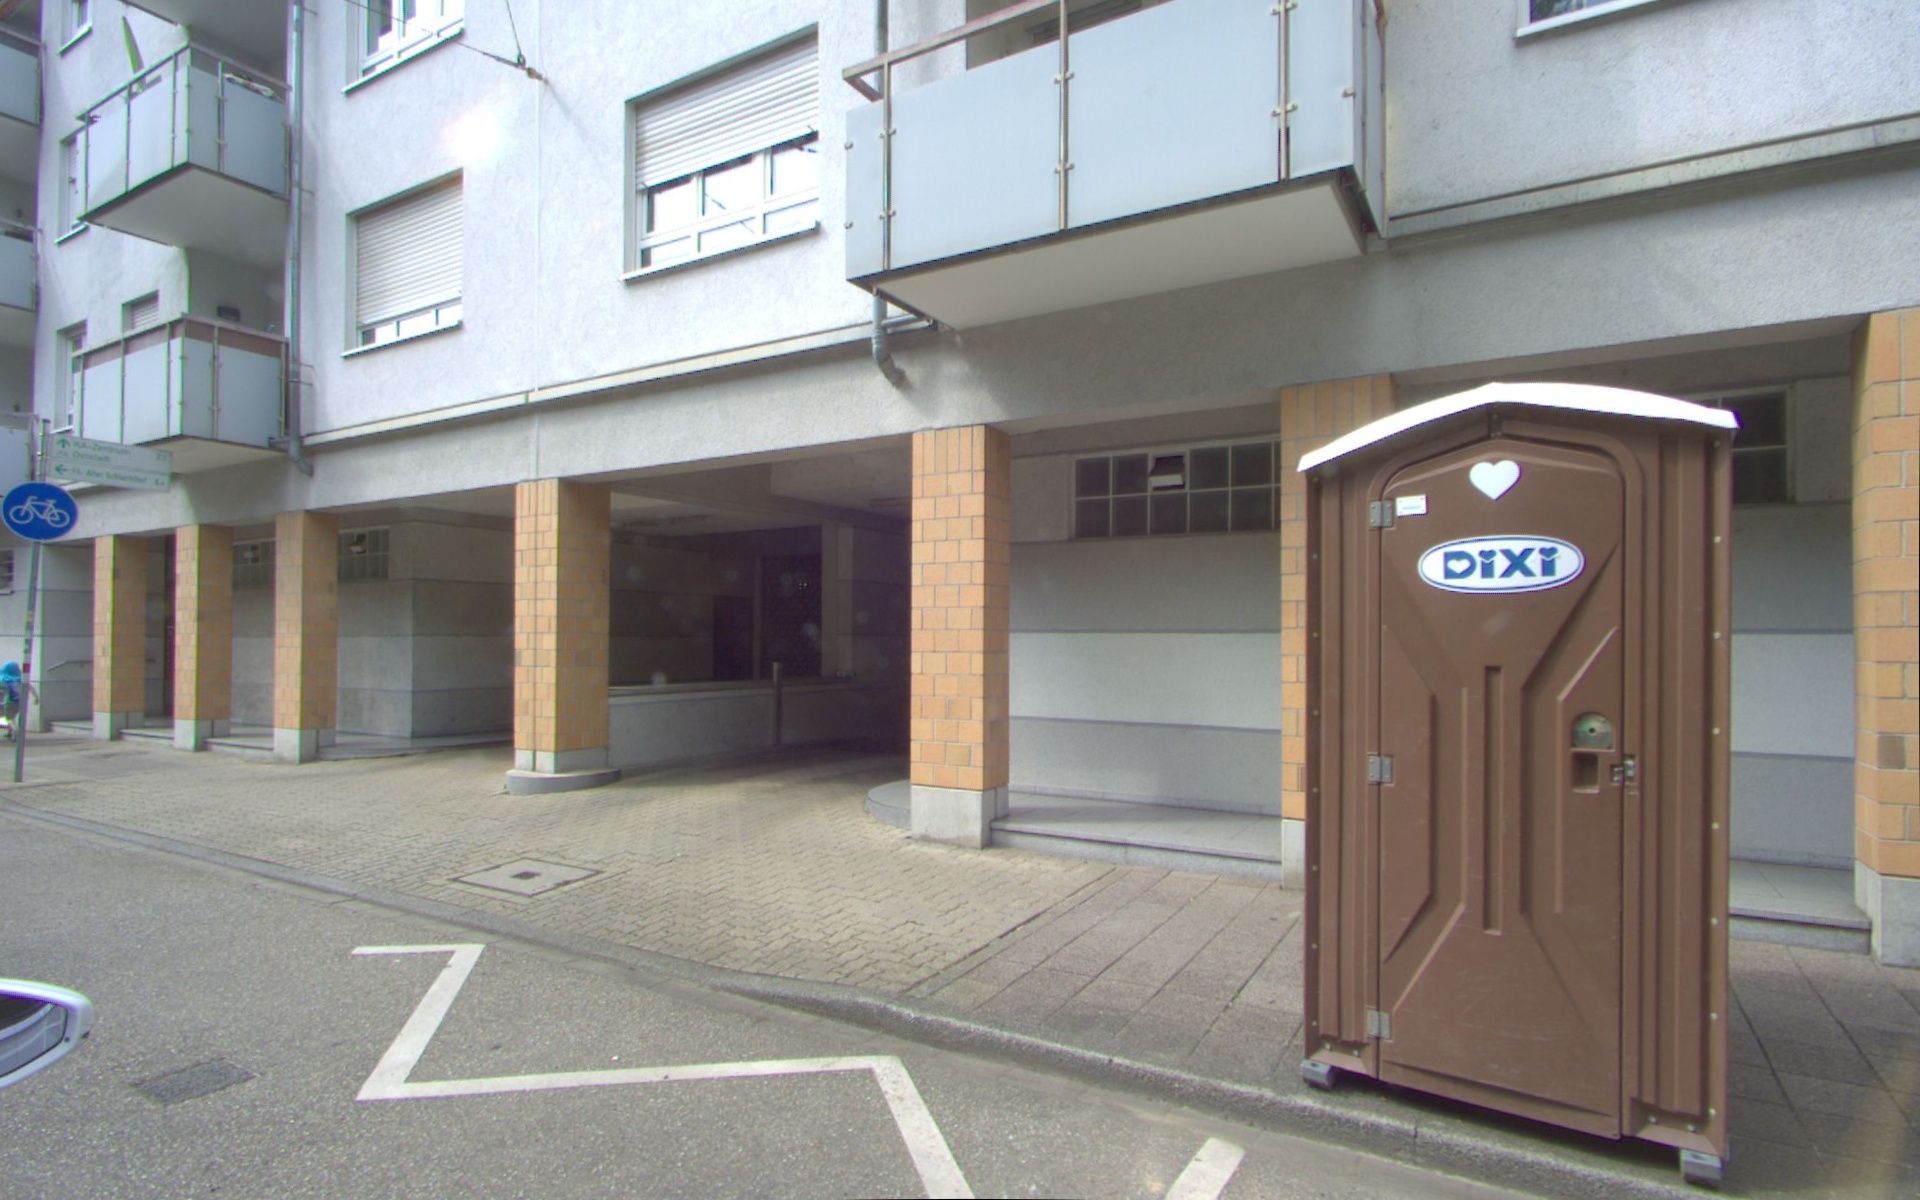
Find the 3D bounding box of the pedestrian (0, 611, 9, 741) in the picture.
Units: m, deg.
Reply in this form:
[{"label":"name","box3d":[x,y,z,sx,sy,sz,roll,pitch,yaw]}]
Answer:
[{"label":"pedestrian","box3d":[-13.507,1.028,13.614,0.865,1.761,0.620,-1,-1,32]}]

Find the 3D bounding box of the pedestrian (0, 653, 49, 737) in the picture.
[{"label":"pedestrian","box3d":[-13.305,1.336,14.197,0.487,1.149,0.455,-1,0,32]}]
